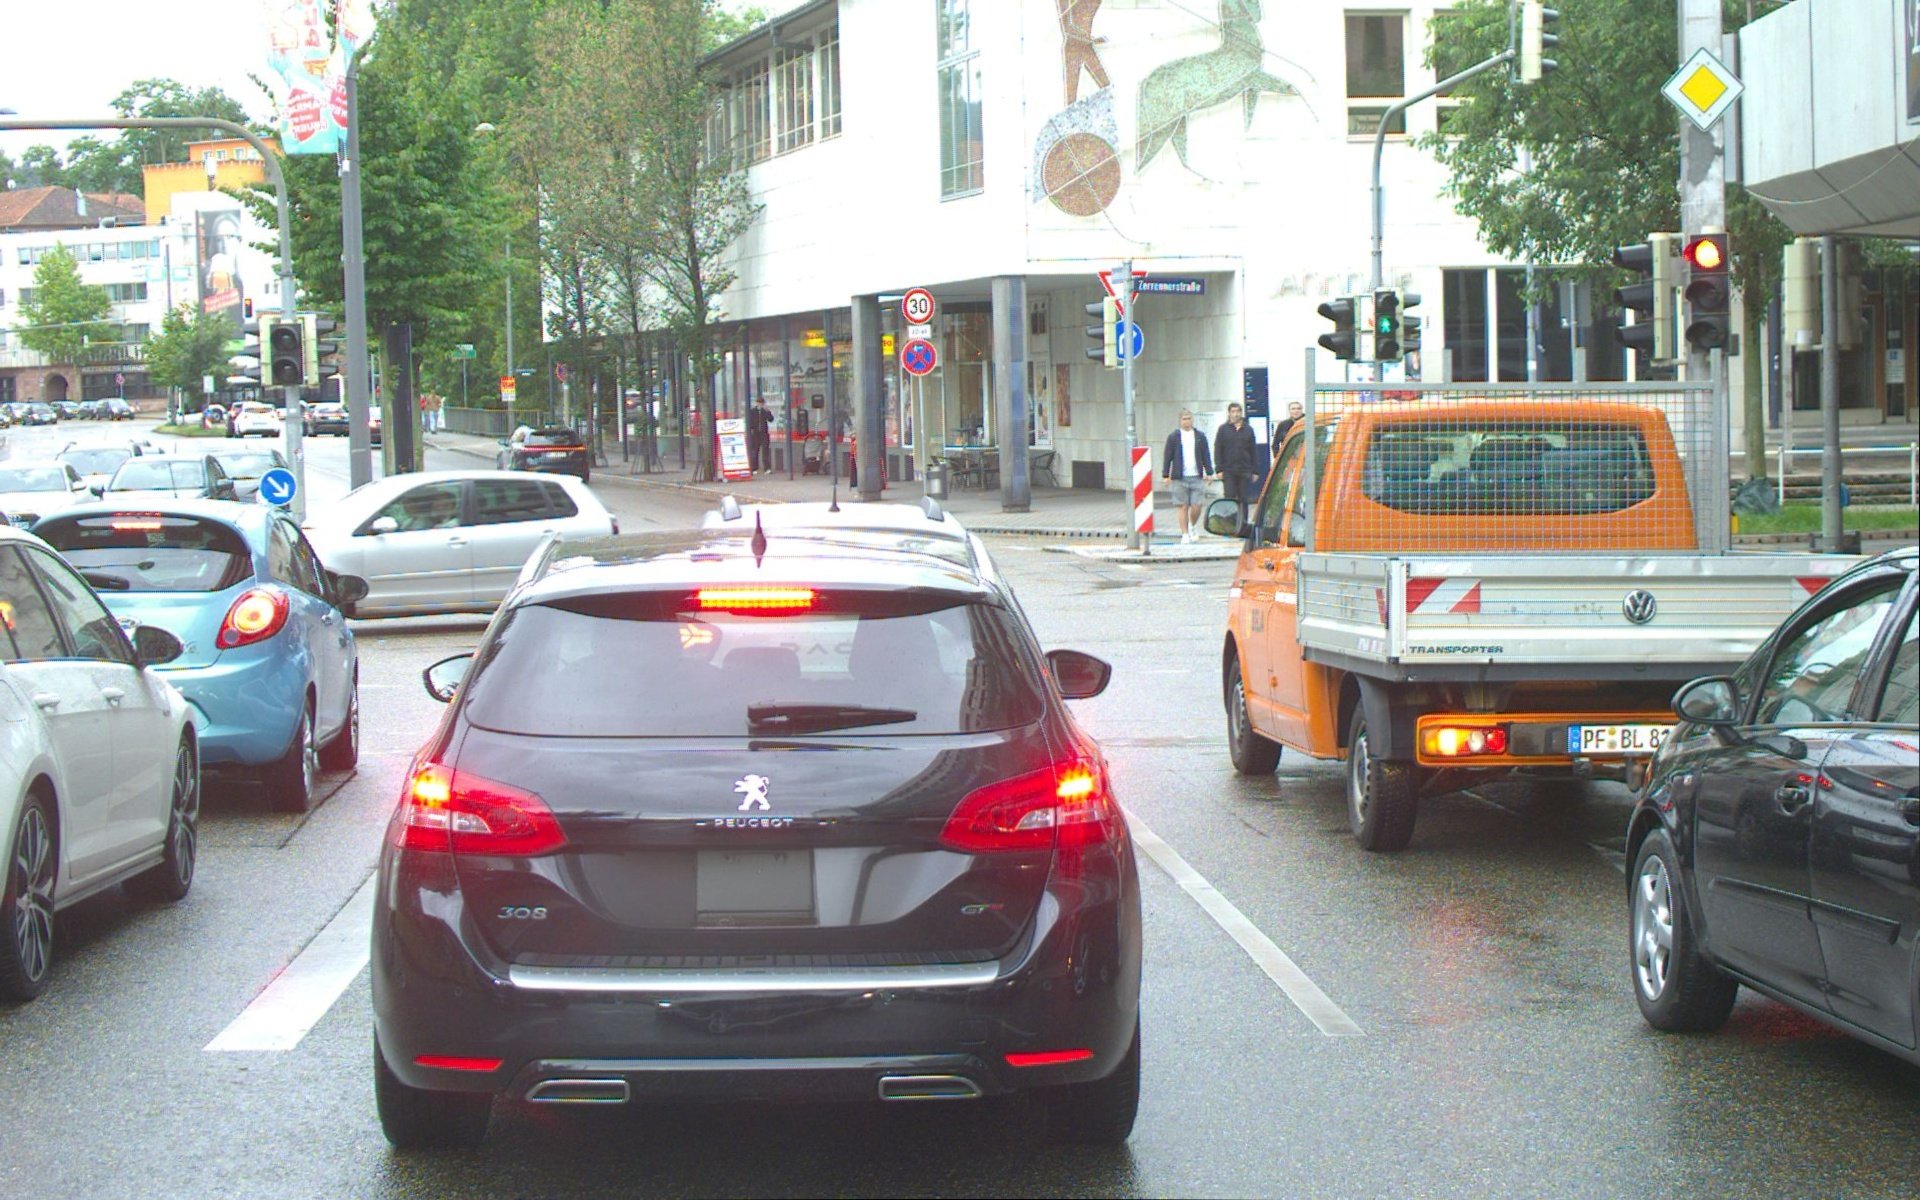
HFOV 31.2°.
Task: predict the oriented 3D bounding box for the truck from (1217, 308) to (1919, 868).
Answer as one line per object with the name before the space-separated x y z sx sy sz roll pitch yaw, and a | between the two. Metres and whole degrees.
truck | 2.585 -0.143 15.904 2.177 2.165 5.021 1 2 -3

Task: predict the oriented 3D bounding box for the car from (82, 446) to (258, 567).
car | -10.957 -1.265 47.910 1.744 1.574 4.000 1 0 -4

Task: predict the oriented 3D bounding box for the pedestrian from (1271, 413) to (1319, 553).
pedestrian | 4.590 -1.597 47.075 0.637 1.891 0.733 0 0 6

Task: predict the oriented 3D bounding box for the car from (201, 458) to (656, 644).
car | -4.873 -0.452 31.530 3.740 1.463 1.638 -3 0 -25

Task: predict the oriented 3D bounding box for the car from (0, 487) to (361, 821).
car | -4.016 0.191 17.448 1.632 1.481 3.610 0 2 -5

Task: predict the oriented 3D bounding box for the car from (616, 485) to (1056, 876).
car | -0.508 0.252 15.248 1.696 1.481 3.794 1 2 -1

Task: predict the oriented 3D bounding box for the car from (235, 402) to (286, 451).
car | -29.725 -7.362 146.019 1.705 1.875 4.001 1 0 -18

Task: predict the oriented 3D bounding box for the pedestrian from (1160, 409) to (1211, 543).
pedestrian | 3.005 -1.647 45.740 0.637 1.752 0.733 0 0 6

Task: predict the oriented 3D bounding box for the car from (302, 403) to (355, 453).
car | -27.040 -7.366 147.174 1.705 1.929 4.001 1 0 -18

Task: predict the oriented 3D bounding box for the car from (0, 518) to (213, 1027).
car | -3.713 0.453 11.444 1.777 1.424 3.843 0 2 -3

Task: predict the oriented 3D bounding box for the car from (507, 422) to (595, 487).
car | -10.245 -3.660 85.931 1.787 1.449 4.508 -3 4 -11

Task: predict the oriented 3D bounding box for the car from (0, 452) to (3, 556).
car | -14.266 -1.298 47.009 1.574 1.481 3.610 0 2 -4

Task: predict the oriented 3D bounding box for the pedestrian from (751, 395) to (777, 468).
pedestrian | -4.770 -4.111 83.731 0.468 1.742 0.541 1 0 -21

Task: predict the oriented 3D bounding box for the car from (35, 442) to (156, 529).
car | -15.351 -2.052 61.185 1.632 1.481 3.611 0 2 -7

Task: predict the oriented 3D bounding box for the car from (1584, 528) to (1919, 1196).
car | 2.842 0.559 8.649 1.616 1.424 3.843 0 2 -3

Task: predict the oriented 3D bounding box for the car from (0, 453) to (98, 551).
car | -14.603 -1.560 53.920 1.632 1.481 3.611 0 2 -7

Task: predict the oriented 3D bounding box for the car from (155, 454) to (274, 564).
car | -11.877 -1.420 54.946 1.744 1.634 4.001 1 0 -11

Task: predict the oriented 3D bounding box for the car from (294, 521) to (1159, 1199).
car | -0.479 0.529 9.014 1.777 1.424 3.842 1 2 0

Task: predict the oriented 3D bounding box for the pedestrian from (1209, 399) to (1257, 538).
pedestrian | 3.774 -1.805 47.511 0.637 1.891 0.733 0 0 6

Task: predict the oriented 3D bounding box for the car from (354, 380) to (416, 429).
car | -20.876 -7.065 124.617 1.724 1.485 4.734 1 0 -15
